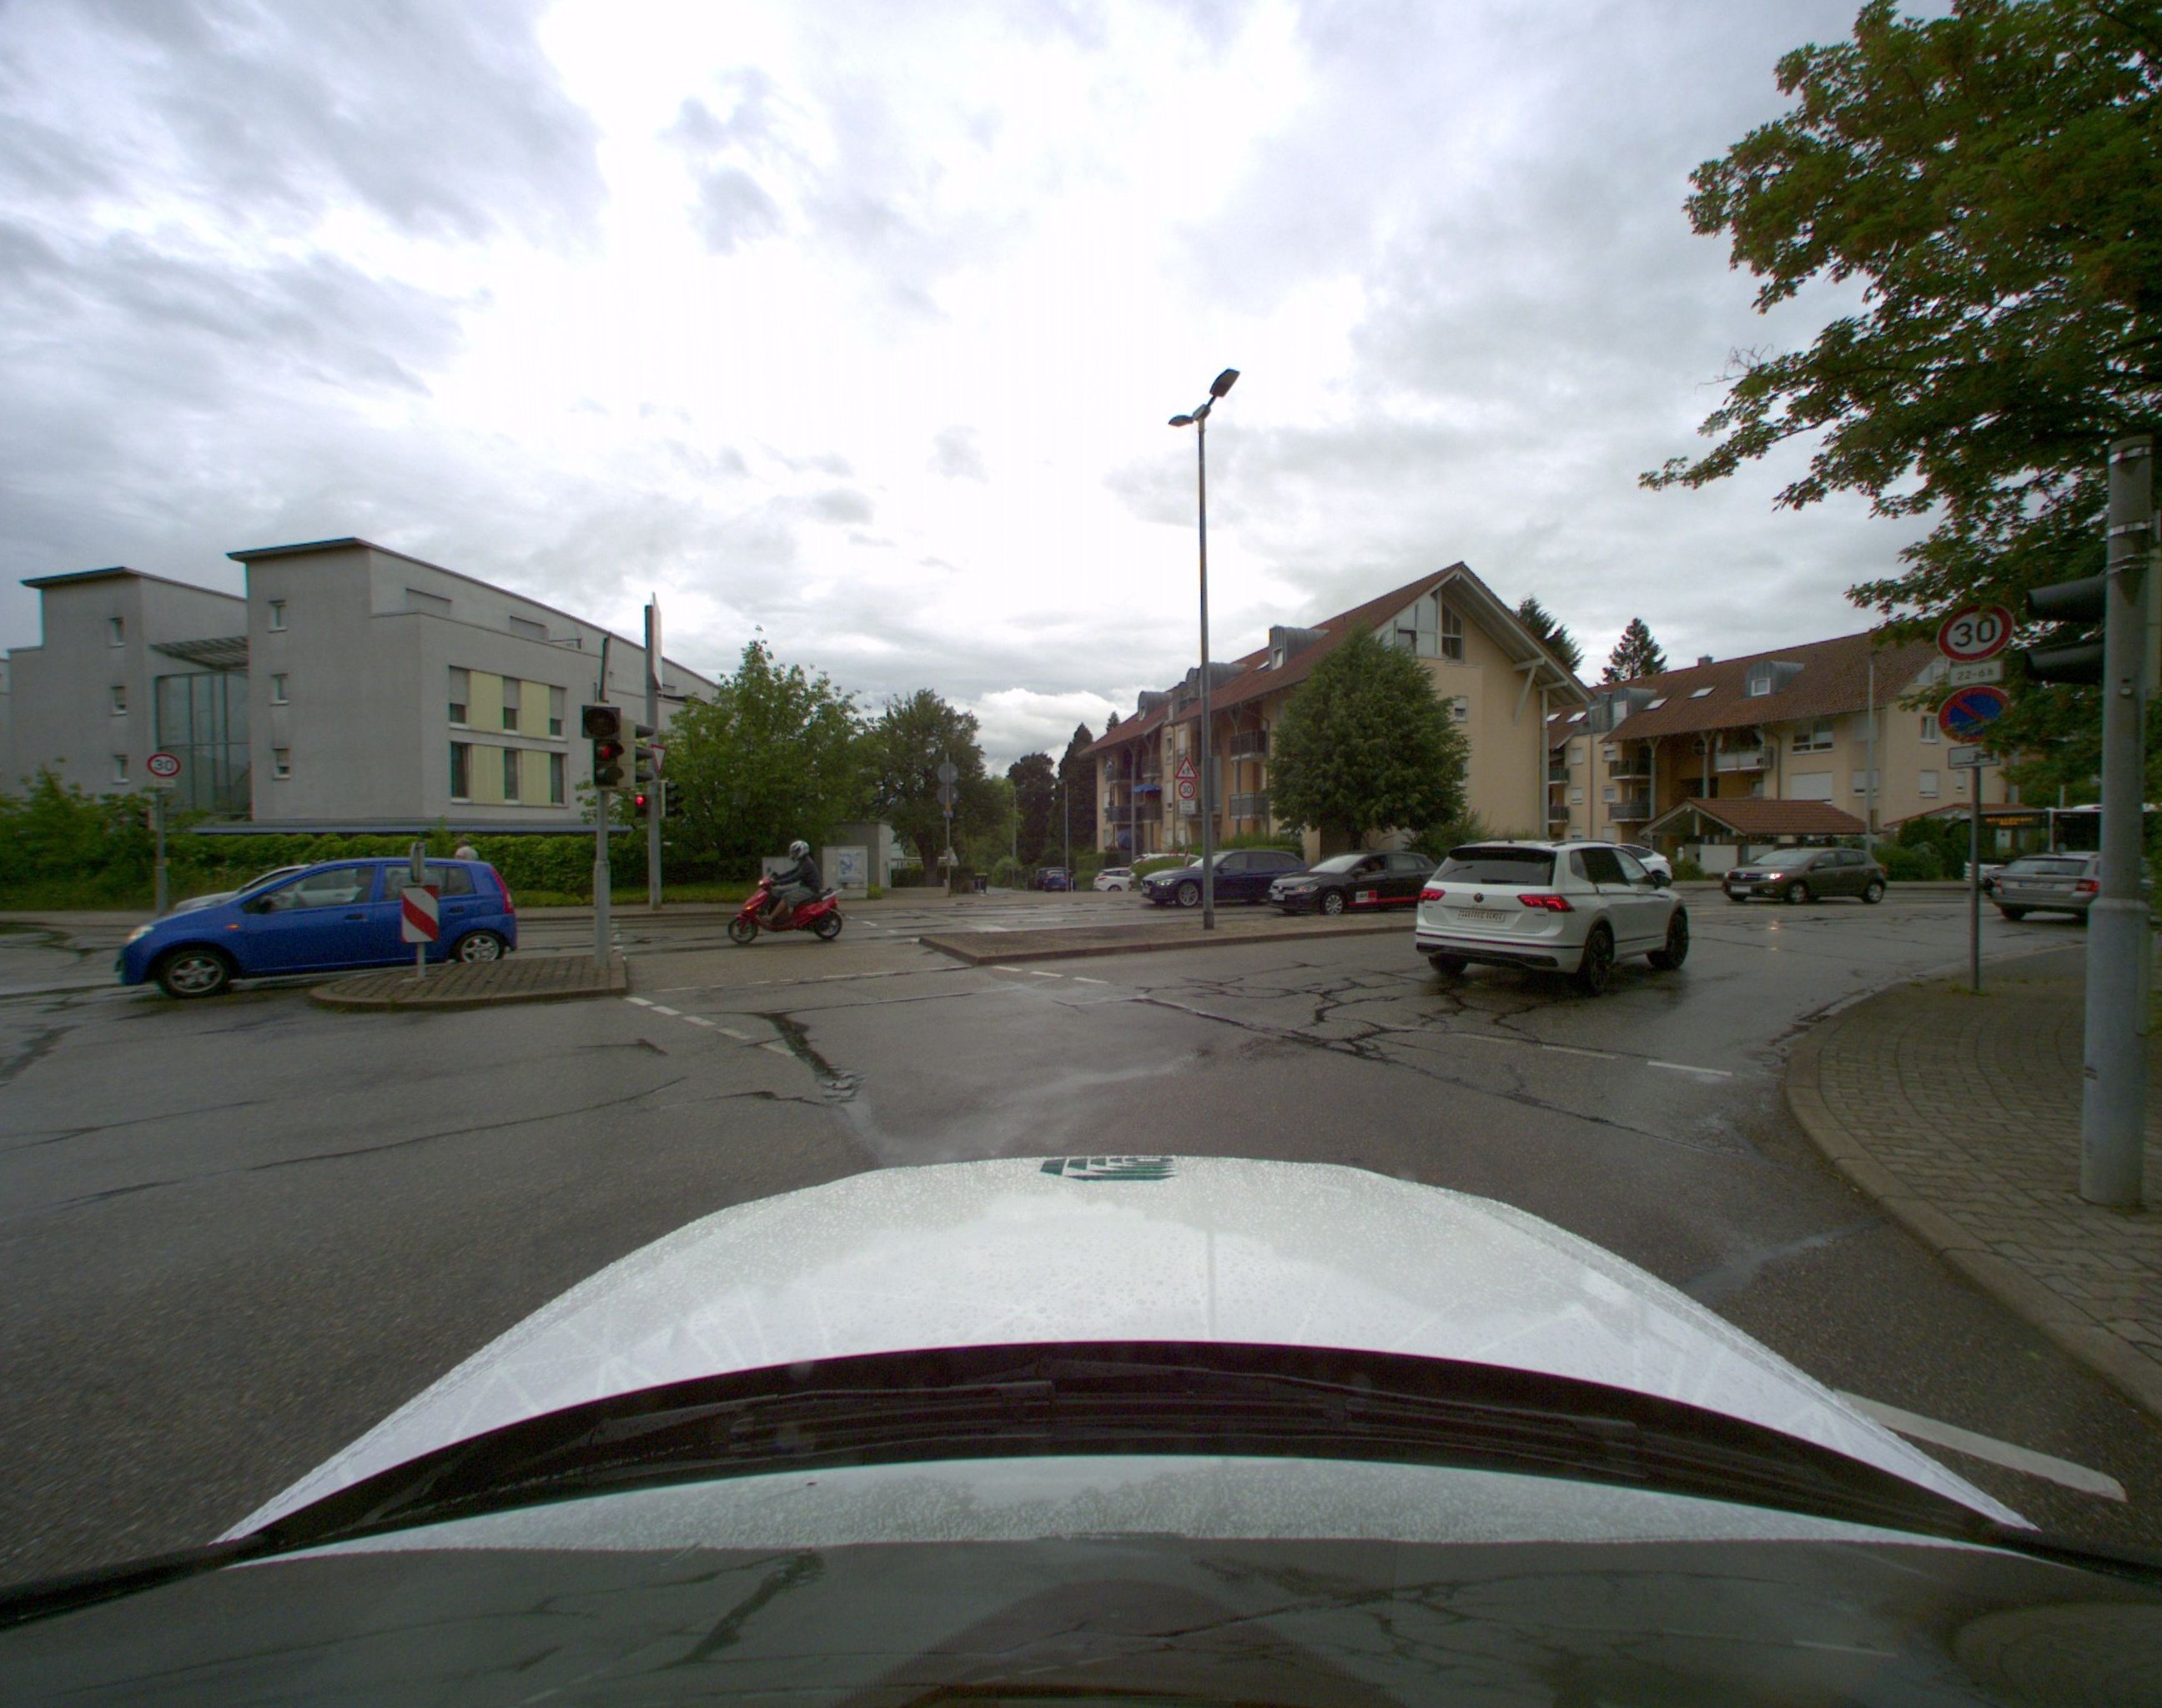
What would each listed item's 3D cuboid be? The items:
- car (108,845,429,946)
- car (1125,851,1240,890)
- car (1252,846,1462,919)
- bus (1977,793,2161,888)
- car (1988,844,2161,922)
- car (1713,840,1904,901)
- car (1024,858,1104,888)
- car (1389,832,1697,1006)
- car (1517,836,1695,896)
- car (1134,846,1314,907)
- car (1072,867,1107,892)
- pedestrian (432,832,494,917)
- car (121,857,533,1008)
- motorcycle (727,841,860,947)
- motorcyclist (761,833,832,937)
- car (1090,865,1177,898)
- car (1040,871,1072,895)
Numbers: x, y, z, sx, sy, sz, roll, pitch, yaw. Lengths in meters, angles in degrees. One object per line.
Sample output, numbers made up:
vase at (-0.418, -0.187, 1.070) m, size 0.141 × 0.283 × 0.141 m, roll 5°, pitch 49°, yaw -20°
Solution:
car at (-15.566, 0.768, 15.847) m, size 3.983 × 1.669 × 1.996 m, roll 2°, pitch 2°, yaw -7°
car at (3.977, 0.641, 32.159) m, size 4.191 × 1.439 × 1.815 m, roll 0°, pitch -1°, yaw -11°
car at (6.116, 0.569, 18.108) m, size 4.202 × 1.408 × 1.811 m, roll -1°, pitch 0°, yaw -19°
bus at (35.887, -0.450, 26.954) m, size 9.131 × 3.000 × 2.558 m, roll 0°, pitch 0°, yaw 4°
car at (21.815, 0.611, 17.659) m, size 4.005 × 1.510 × 1.757 m, roll 2°, pitch 0°, yaw -25°
car at (19.714, 0.435, 22.149) m, size 3.924 × 1.487 × 1.823 m, roll 2°, pitch 1°, yaw -10°
car at (-1.441, 1.577, 66.649) m, size 6.014 × 2.201 × 2.837 m, roll 2°, pitch 0°, yaw -17°
car at (5.871, 0.587, 10.158) m, size 4.286 × 1.722 × 1.905 m, roll -1°, pitch 2°, yaw -39°
car at (16.064, 0.311, 24.988) m, size 4.590 × 1.725 × 1.946 m, roll -1°, pitch 1°, yaw -13°
car at (3.703, 0.537, 21.210) m, size 4.350 × 1.435 × 1.749 m, roll -1°, pitch 1°, yaw -19°
car at (0.495, 1.570, 51.352) m, size 1.759 × 1.408 × 3.853 m, roll -2°, pitch 1°, yaw -7°
pedestrian at (-14.903, 0.475, 19.653) m, size 0.794 × 2.013 × 0.852 m, roll 0°, pitch 1°, yaw 11°
car at (-8.850, 0.792, 9.898) m, size 3.459 × 1.456 × 1.506 m, roll -1°, pitch 1°, yaw -42°
motorcycle at (-4.681, 0.612, 13.296) m, size 1.928 × 1.624 × 0.789 m, roll 0°, pitch 0°, yaw -32°
motorcyclist at (-4.650, 0.489, 13.311) m, size 0.942 × 1.624 × 0.765 m, roll 1°, pitch -1°, yaw -31°
car at (2.496, 1.297, 39.078) m, size 3.852 × 1.408 × 1.759 m, roll -1°, pitch 0°, yaw -12°
car at (-1.663, 1.893, 53.824) m, size 1.759 × 1.408 × 3.853 m, roll -2°, pitch 1°, yaw -7°
